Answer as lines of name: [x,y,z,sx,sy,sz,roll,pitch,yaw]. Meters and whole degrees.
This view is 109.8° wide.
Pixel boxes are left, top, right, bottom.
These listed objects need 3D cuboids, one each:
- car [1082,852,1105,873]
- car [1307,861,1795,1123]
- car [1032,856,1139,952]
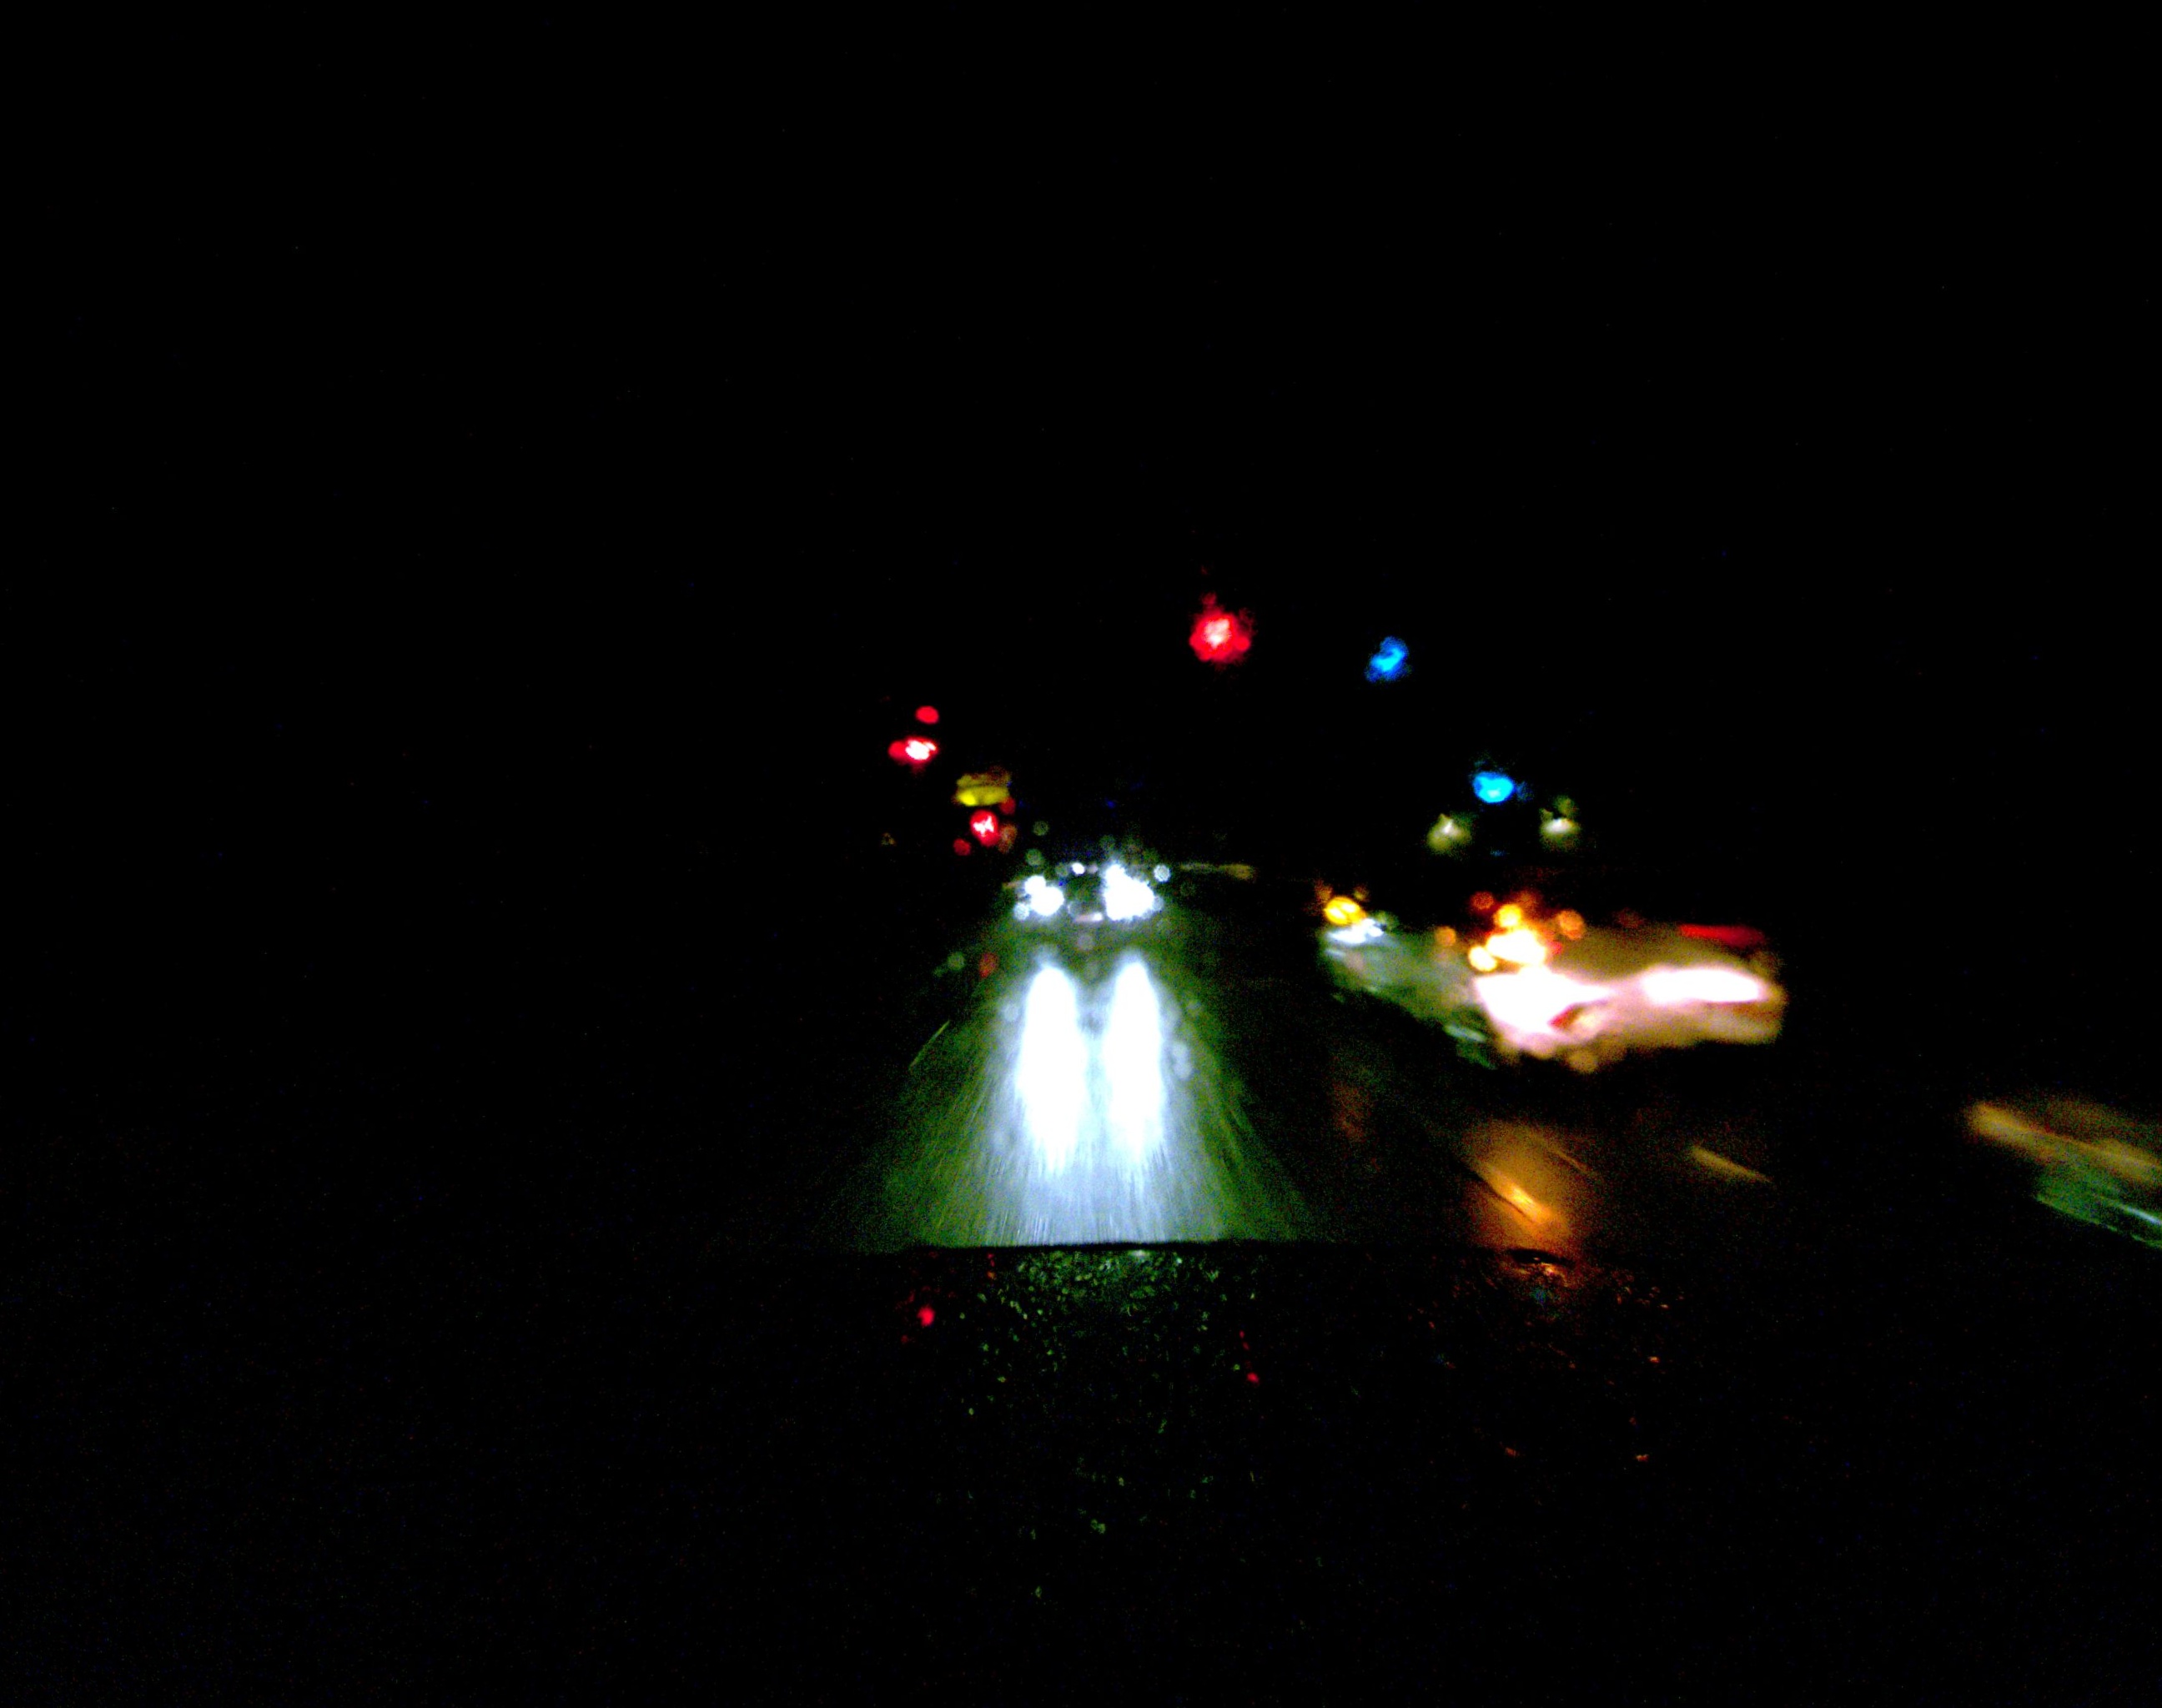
car: [1.182,0.744,68.893,1.759,1.807,4.711,-3,0,4]
car: [3.345,0.828,6.322,1.673,1.464,3.632,-2,0,-2]
car: [0.190,0.870,15.438,1.809,1.590,4.787,-1,0,3]
